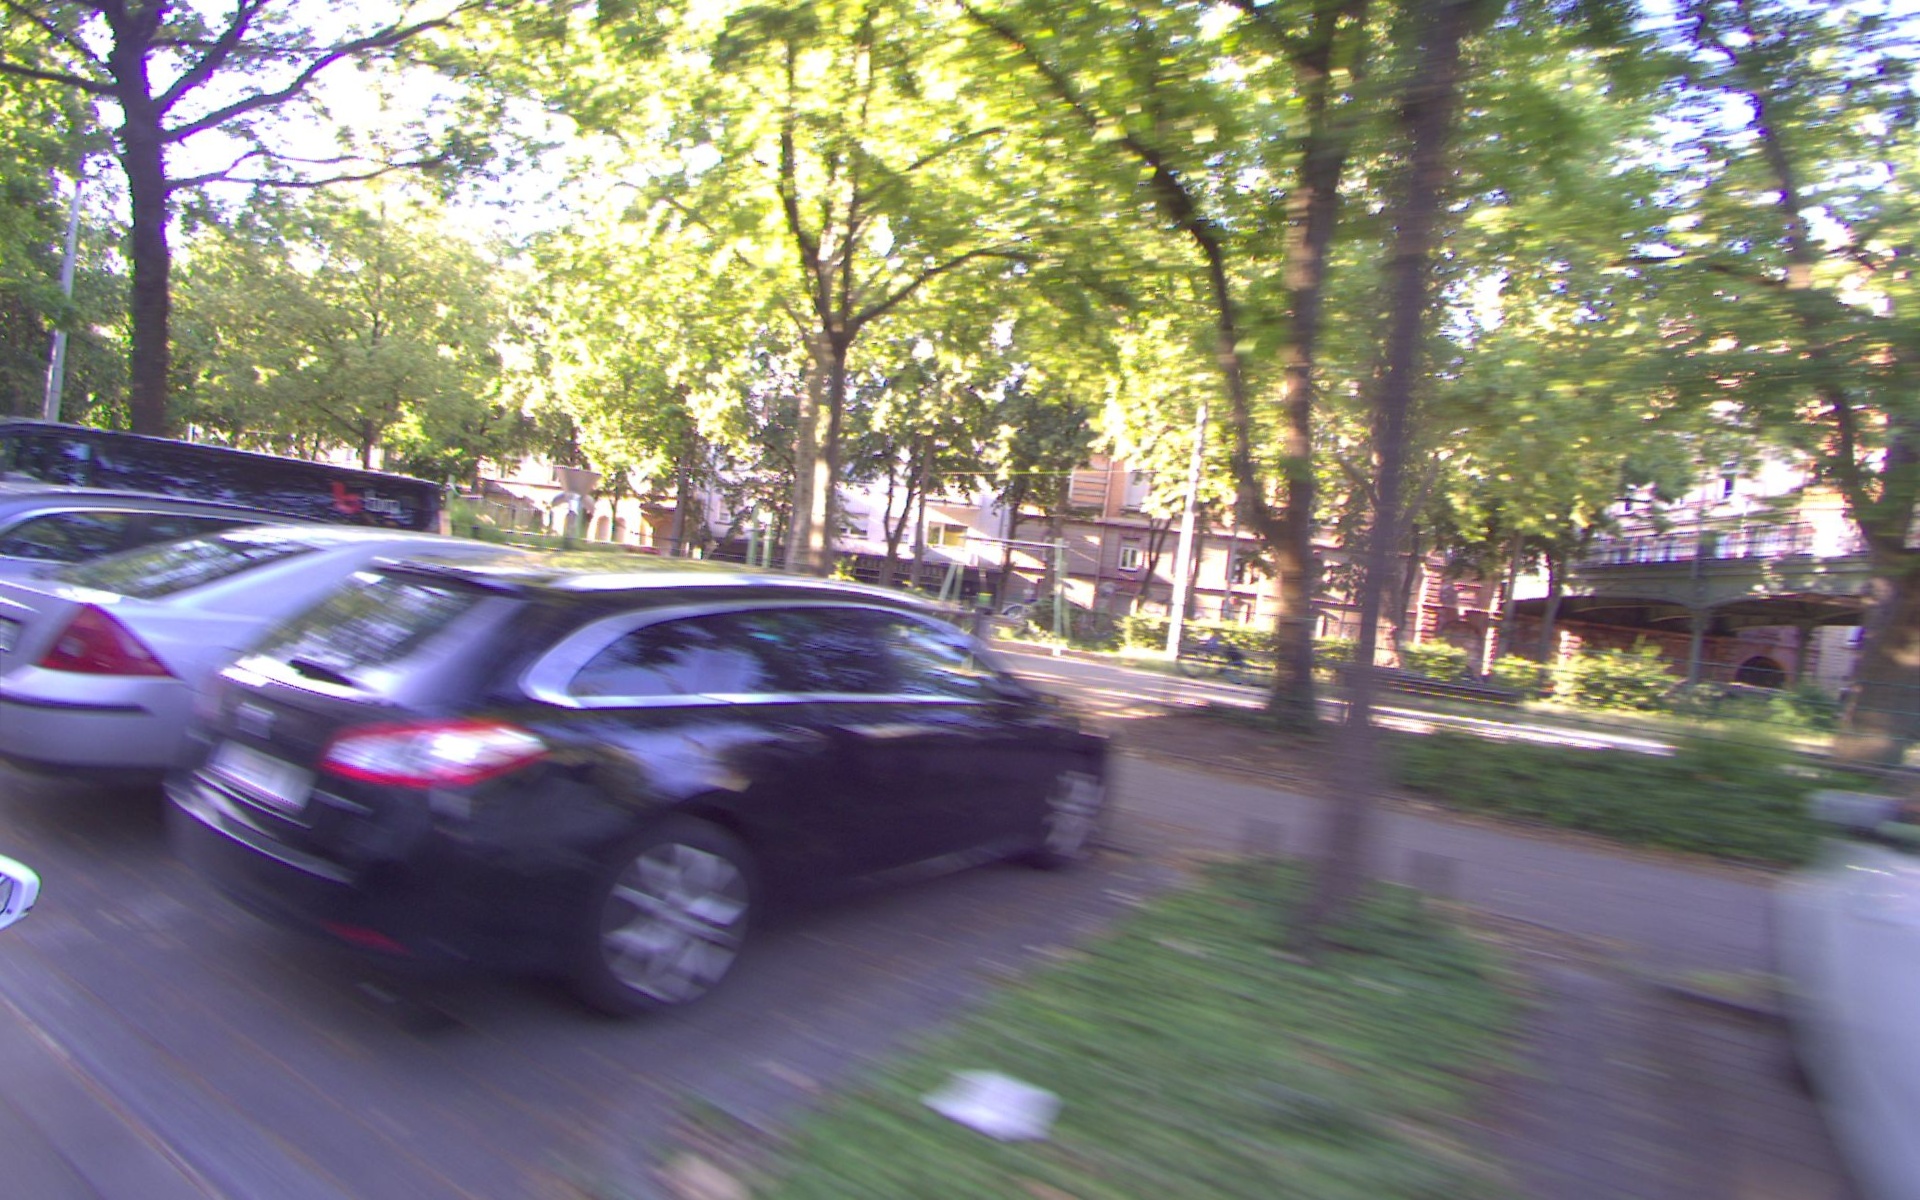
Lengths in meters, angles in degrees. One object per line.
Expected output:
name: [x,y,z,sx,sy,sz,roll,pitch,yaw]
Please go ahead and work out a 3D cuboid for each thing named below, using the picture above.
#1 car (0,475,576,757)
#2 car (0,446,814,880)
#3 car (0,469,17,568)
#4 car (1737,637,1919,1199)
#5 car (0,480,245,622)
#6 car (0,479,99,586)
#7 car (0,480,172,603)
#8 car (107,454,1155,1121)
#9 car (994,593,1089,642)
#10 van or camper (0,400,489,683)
car: [-5.210,0.106,7.207,1.806,1.519,4.406,5,0,29]
car: [-3.012,0.310,5.925,1.638,1.597,4.401,5,0,34]
car: [-17.589,-1.542,15.264,1.807,1.611,4.404,6,0,31]
car: [3.083,0.995,2.233,1.637,1.666,3.785,5,0,32]
car: [-11.163,-0.650,11.555,1.807,1.458,4.404,6,0,30]
car: [-15.174,-1.150,14.065,1.808,1.458,4.401,6,0,34]
car: [-13.117,-0.894,12.859,1.808,1.458,4.401,6,0,34]
car: [-0.865,0.533,4.660,1.639,1.597,4.398,5,0,36]
car: [4.330,0.926,53.006,4.648,2.037,2.002,6,-2,11]
van or camper: [-7.265,-0.464,8.680,1.997,2.053,5.416,8,1,34]
